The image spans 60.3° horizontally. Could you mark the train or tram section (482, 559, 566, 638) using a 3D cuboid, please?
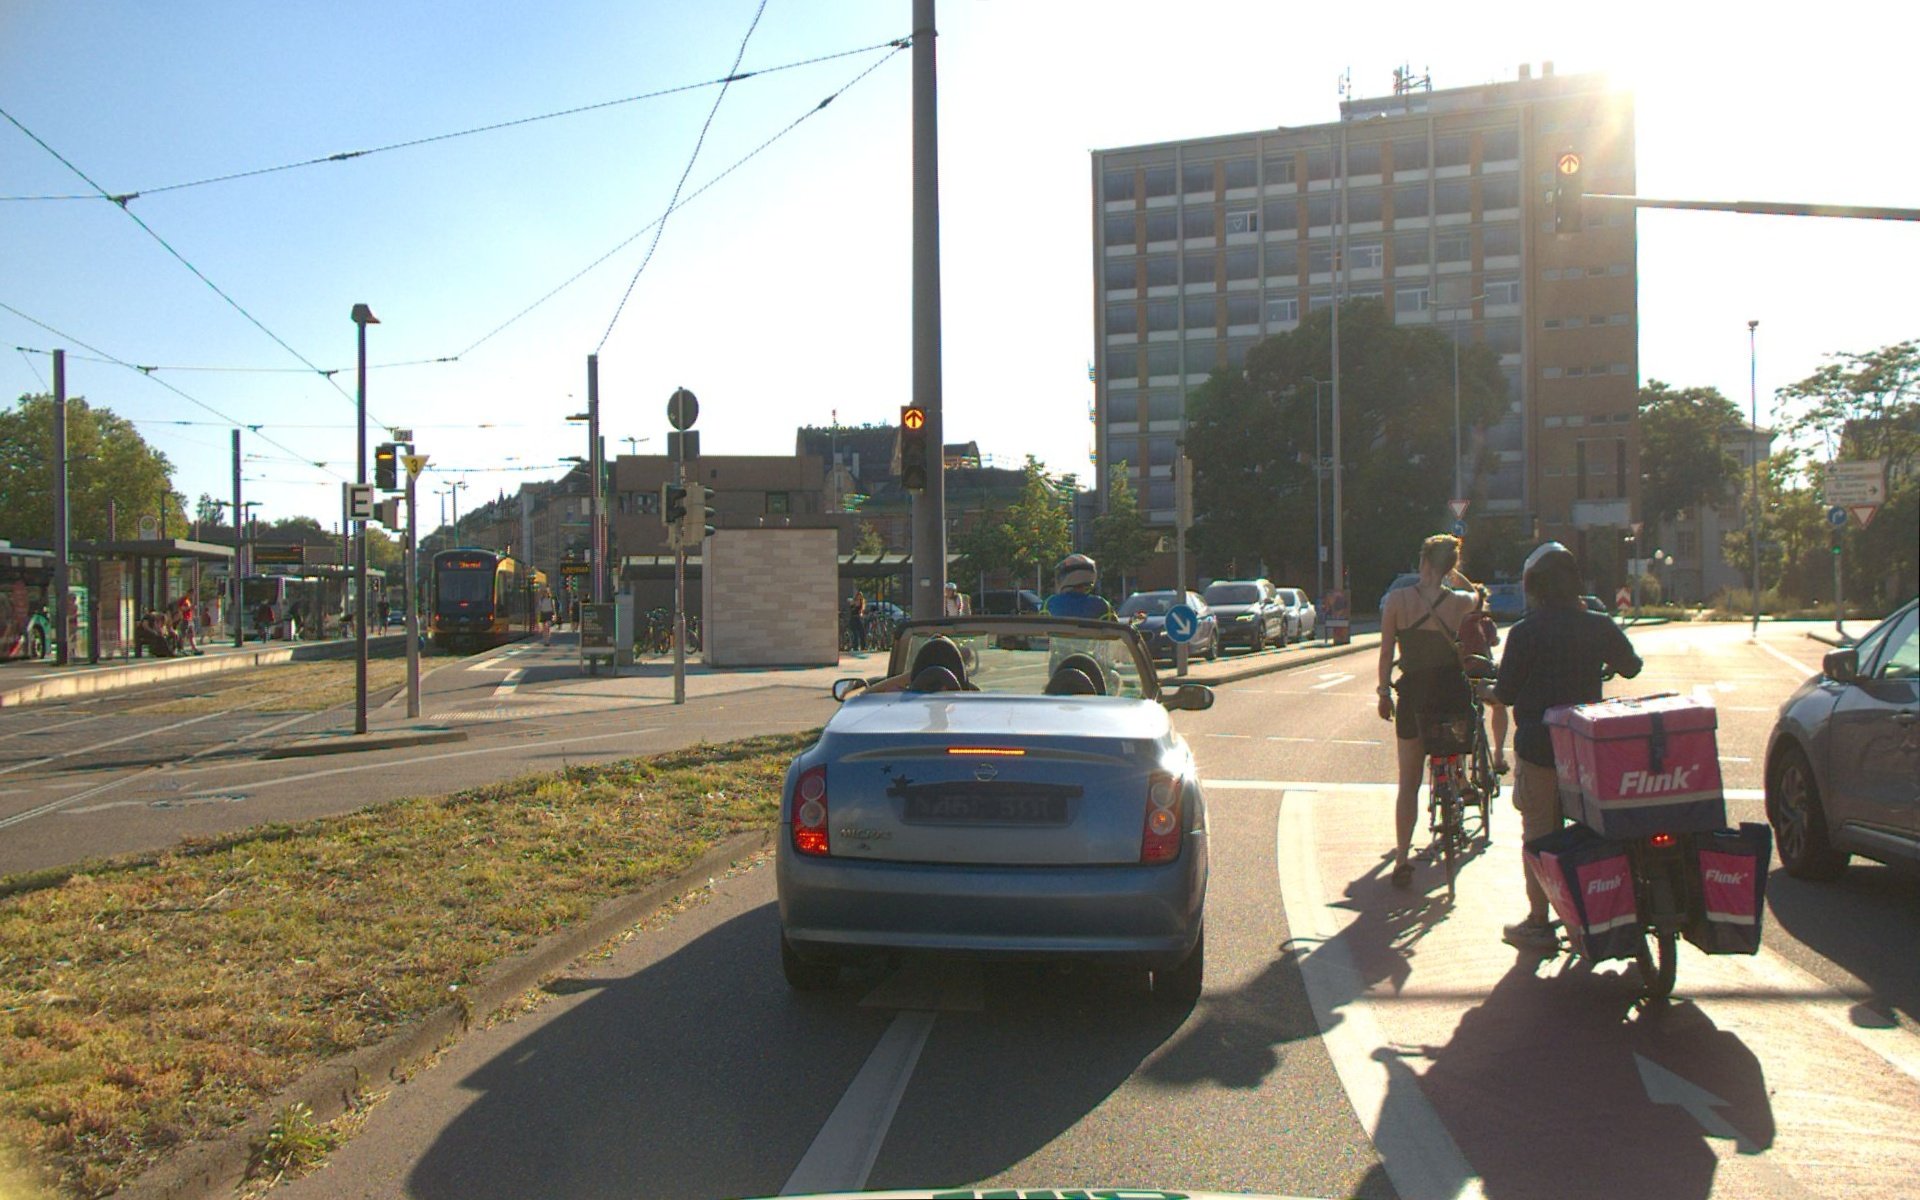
[{"bbox_3d":[-22.046,-0.066,84.256,2.984,3.659,12.024,1,0,-10],"label":"train or tram section"}]

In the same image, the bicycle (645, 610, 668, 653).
[{"bbox_3d":[-8.425,0.863,45.847,0.596,1.134,1.891,1,0,-11],"label":"bicycle"}]

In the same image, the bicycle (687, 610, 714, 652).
[{"bbox_3d":[-7.280,0.863,46.334,0.596,1.134,1.890,1,0,-13],"label":"bicycle"}]

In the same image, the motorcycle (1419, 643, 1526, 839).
[{"bbox_3d":[3.419,0.874,11.112,0.600,1.117,2.361,1,0,16],"label":"motorcycle"}]

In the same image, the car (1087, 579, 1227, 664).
[{"bbox_3d":[4.071,0.426,33.683,1.702,1.601,3.921,1,0,25],"label":"car"}]

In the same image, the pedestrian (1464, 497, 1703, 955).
[{"bbox_3d":[2.762,0.524,7.425,0.789,1.901,0.957,1,-1,8],"label":"pedestrian"}]

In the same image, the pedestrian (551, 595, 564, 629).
[{"bbox_3d":[-21.790,0.651,89.578,0.593,1.779,0.830,-1,0,-8],"label":"pedestrian"}]

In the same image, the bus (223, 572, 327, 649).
[{"bbox_3d":[-32.736,0.470,79.553,2.675,3.331,13.413,1,0,-14],"label":"bus"}]

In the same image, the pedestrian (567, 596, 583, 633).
[{"bbox_3d":[-18.770,0.683,80.630,0.628,1.779,0.732,-1,0,-19],"label":"pedestrian"}]

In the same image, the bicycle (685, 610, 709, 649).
[{"bbox_3d":[-7.980,0.895,50.197,0.596,1.134,1.890,1,0,-13],"label":"bicycle"}]

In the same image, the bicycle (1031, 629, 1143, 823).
[{"bbox_3d":[0.952,0.831,11.897,0.595,1.212,2.416,1,0,9],"label":"bicycle"}]

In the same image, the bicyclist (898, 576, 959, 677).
[{"bbox_3d":[-0.544,0.457,28.760,0.694,1.686,0.901,-3,-1,21],"label":"bicyclist"}]

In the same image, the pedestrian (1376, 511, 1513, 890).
[{"bbox_3d":[2.559,0.501,8.809,0.645,1.901,0.873,1,-1,14],"label":"pedestrian"}]

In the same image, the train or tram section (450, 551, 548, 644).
[{"bbox_3d":[-19.981,-0.081,72.361,2.957,3.659,12.169,1,0,-10],"label":"train or tram section"}]

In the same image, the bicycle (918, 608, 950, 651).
[{"bbox_3d":[-0.731,0.809,45.537,0.595,1.134,1.892,1,0,-10],"label":"bicycle"}]

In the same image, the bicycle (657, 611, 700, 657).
[{"bbox_3d":[-7.185,0.858,42.337,0.594,1.134,1.898,1,0,5],"label":"bicycle"}]

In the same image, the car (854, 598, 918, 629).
[{"bbox_3d":[-3.985,0.742,88.610,1.629,1.588,3.549,-1,0,-39],"label":"car"}]

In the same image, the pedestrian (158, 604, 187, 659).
[{"bbox_3d":[-20.253,0.805,42.547,0.561,1.369,0.637,-1,0,-17],"label":"pedestrian"}]

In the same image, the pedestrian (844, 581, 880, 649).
[{"bbox_3d":[-2.768,0.415,46.705,0.885,1.901,0.685,1,-1,-13],"label":"pedestrian"}]

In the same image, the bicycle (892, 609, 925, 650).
[{"bbox_3d":[-1.496,0.832,47.542,0.596,1.134,1.890,1,0,-13],"label":"bicycle"}]

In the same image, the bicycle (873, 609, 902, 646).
[{"bbox_3d":[-2.338,0.868,53.188,0.596,1.134,1.890,1,0,-13],"label":"bicycle"}]

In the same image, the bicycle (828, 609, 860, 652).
[{"bbox_3d":[-3.163,0.825,45.056,0.596,1.134,1.890,1,0,-13],"label":"bicycle"}]

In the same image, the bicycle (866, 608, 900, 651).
[{"bbox_3d":[-2.111,0.784,45.214,0.596,1.134,1.890,1,0,-13],"label":"bicycle"}]

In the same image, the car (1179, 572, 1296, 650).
[{"bbox_3d":[6.741,0.241,39.823,1.726,1.736,4.529,-2,-1,23],"label":"car"}]

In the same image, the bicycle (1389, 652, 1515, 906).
[{"bbox_3d":[2.637,0.895,8.997,0.552,1.171,1.951,1,0,14],"label":"bicycle"}]

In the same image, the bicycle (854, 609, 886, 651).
[{"bbox_3d":[-2.560,0.845,47.138,0.596,1.134,1.890,1,0,-13],"label":"bicycle"}]

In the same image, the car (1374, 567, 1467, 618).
[{"bbox_3d":[18.905,-0.320,67.819,1.879,1.979,4.681,-1,0,40],"label":"car"}]

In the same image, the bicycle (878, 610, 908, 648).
[{"bbox_3d":[-2.089,0.887,51.220,0.596,1.134,1.890,1,0,-13],"label":"bicycle"}]

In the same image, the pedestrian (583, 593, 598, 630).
[{"bbox_3d":[-18.131,0.567,81.219,0.628,1.779,0.732,-1,0,-19],"label":"pedestrian"}]

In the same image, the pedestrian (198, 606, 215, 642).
[{"bbox_3d":[-37.506,1.195,82.342,0.627,1.779,0.570,-1,0,-13],"label":"pedestrian"}]

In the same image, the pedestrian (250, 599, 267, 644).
[{"bbox_3d":[-27.992,0.841,65.997,0.562,1.779,0.636,-1,0,-20],"label":"pedestrian"}]

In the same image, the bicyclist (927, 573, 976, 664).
[{"bbox_3d":[-0.156,0.349,31.474,0.694,1.686,0.743,-1,0,21],"label":"bicyclist"}]

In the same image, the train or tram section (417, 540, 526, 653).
[{"bbox_3d":[-17.647,-0.103,60.407,2.831,3.659,12.161,1,0,-12],"label":"train or tram section"}]

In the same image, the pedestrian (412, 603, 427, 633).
[{"bbox_3d":[-32.511,1.091,99.527,0.720,1.779,0.638,-1,0,-8],"label":"pedestrian"}]

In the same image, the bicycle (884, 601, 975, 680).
[{"bbox_3d":[-0.505,0.677,28.828,0.660,1.272,2.457,-3,-1,21],"label":"bicycle"}]

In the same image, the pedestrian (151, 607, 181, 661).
[{"bbox_3d":[-20.095,0.859,41.867,0.606,1.364,0.438,-1,0,-18],"label":"pedestrian"}]

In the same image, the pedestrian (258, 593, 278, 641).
[{"bbox_3d":[-26.055,0.645,62.243,0.630,1.779,0.567,-1,0,-27],"label":"pedestrian"}]

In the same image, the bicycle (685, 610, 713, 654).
[{"bbox_3d":[-6.990,0.846,44.275,0.596,1.134,1.890,1,0,-13],"label":"bicycle"}]

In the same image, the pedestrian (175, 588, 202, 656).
[{"bbox_3d":[-20.707,0.584,44.405,0.561,1.779,0.637,-1,0,-17],"label":"pedestrian"}]

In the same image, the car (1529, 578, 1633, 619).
[{"bbox_3d":[31.135,-0.072,82.962,4.606,1.979,1.910,-1,0,33],"label":"car"}]

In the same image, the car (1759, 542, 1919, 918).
[{"bbox_3d":[5.285,0.607,7.398,1.792,1.719,4.372,1,0,8],"label":"car"}]

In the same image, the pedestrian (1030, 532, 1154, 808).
[{"bbox_3d":[0.968,0.487,11.966,0.815,1.901,0.921,1,-1,8],"label":"pedestrian"}]

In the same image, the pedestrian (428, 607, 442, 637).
[{"bbox_3d":[-31.516,1.307,99.281,0.722,1.779,0.637,-1,0,-16],"label":"pedestrian"}]

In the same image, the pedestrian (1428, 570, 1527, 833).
[{"bbox_3d":[3.381,0.631,10.850,0.575,1.626,1.025,1,-1,16],"label":"pedestrian"}]

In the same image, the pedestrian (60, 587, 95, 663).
[{"bbox_3d":[-20.973,0.593,39.318,0.527,1.779,0.559,-1,0,-6],"label":"pedestrian"}]

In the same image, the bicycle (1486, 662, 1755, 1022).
[{"bbox_3d":[2.727,0.901,7.073,0.542,1.192,2.374,1,0,9],"label":"bicycle"}]

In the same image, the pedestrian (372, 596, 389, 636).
[{"bbox_3d":[-25.699,0.704,73.310,0.630,1.779,0.567,-1,0,-27],"label":"pedestrian"}]

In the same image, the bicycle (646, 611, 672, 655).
[{"bbox_3d":[-7.993,0.861,43.929,0.596,1.134,1.890,1,0,-13],"label":"bicycle"}]

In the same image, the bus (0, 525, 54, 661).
[{"bbox_3d":[-23.562,-0.176,37.169,2.606,3.190,9.619,1,0,-10],"label":"bus"}]

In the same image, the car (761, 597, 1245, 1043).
[{"bbox_3d":[0.354,0.747,7.680,1.625,1.466,4.157,1,0,6],"label":"car"}]

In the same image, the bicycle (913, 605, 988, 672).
[{"bbox_3d":[-0.156,0.712,31.446,0.660,1.201,2.183,-1,0,21],"label":"bicycle"}]

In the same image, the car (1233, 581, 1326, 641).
[{"bbox_3d":[9.011,0.281,46.457,1.661,1.588,3.977,-1,0,25],"label":"car"}]

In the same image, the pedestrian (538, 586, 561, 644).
[{"bbox_3d":[-12.587,0.460,50.726,0.628,1.779,0.569,-1,0,-19],"label":"pedestrian"}]
